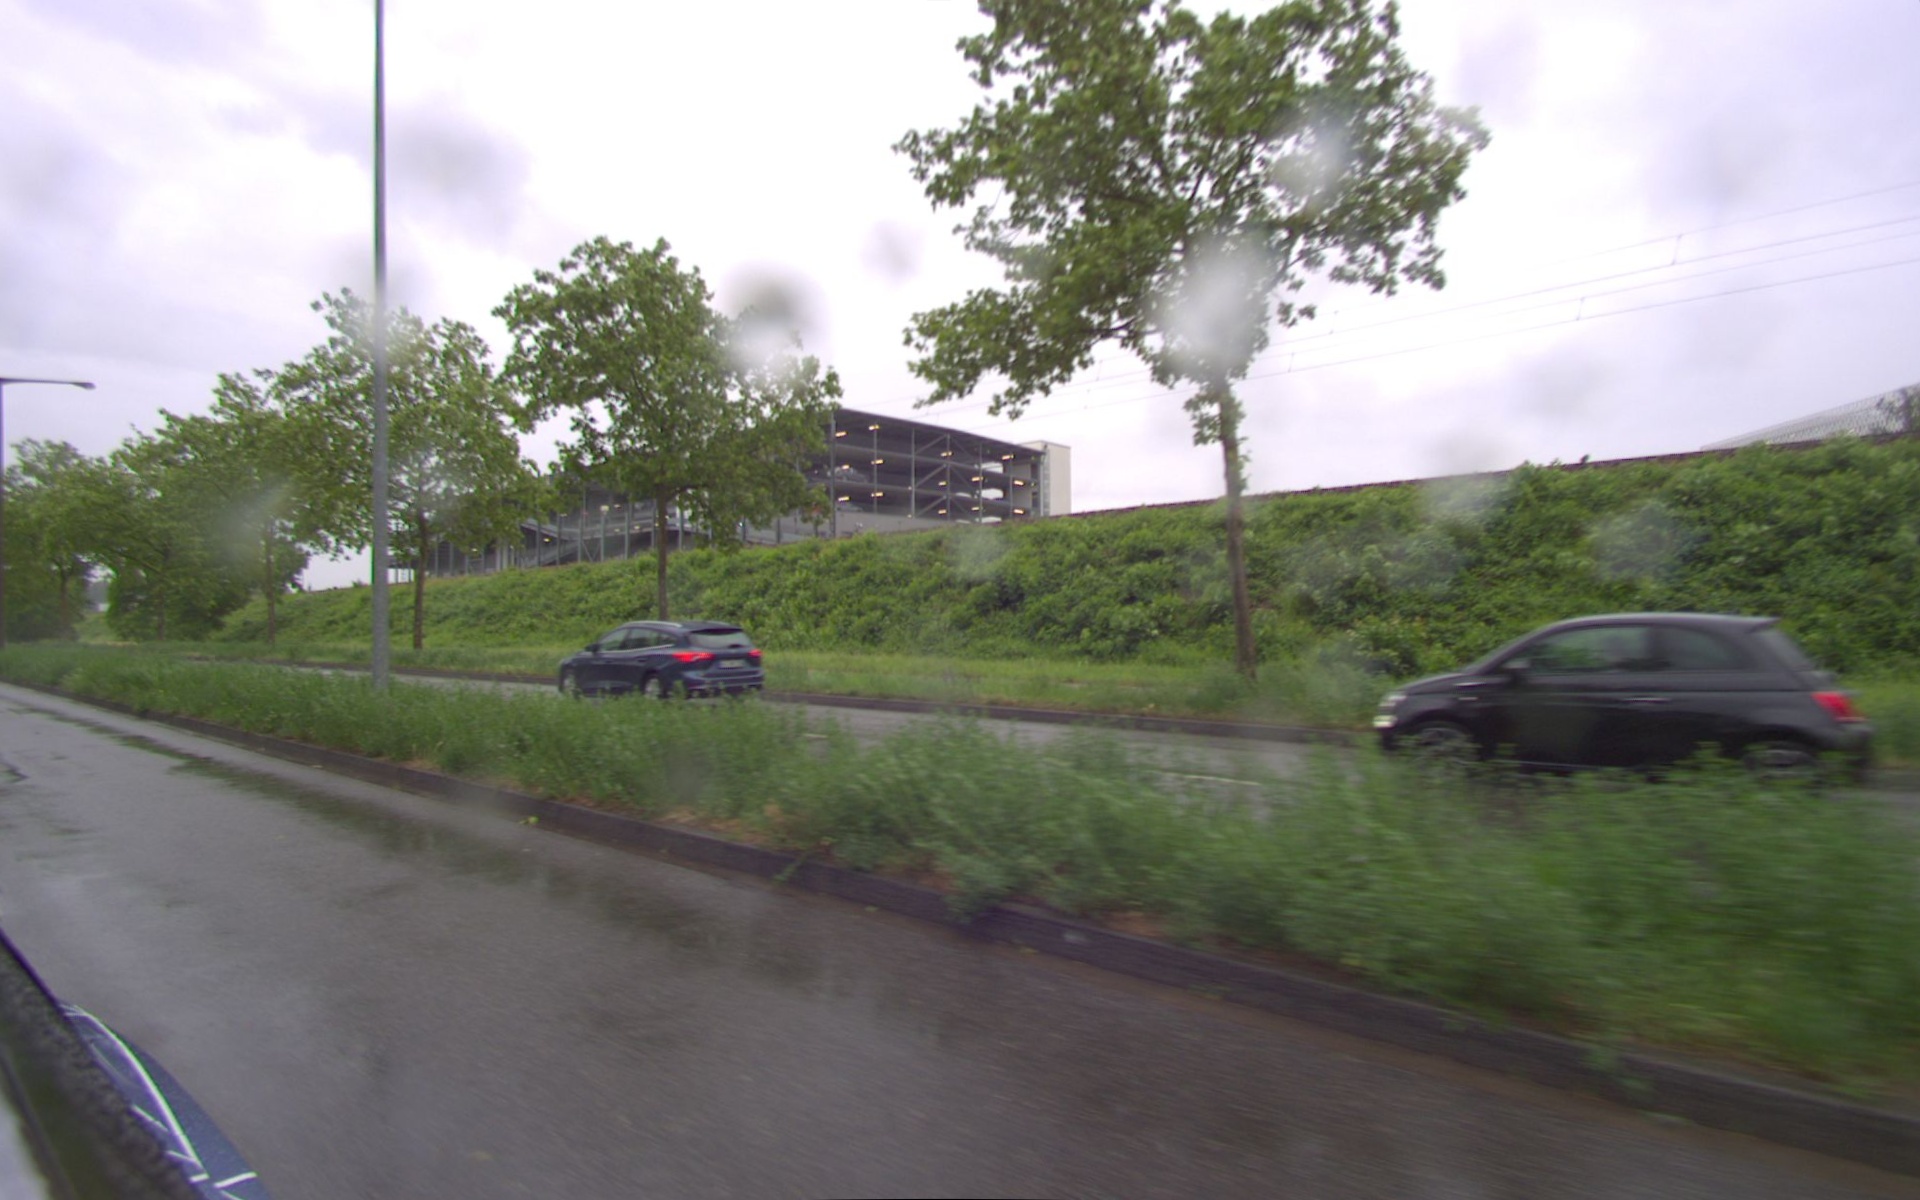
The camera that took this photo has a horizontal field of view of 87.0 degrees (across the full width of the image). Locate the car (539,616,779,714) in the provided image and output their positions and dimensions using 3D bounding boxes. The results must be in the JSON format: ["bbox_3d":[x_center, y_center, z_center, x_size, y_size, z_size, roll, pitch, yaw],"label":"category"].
[{"bbox_3d":[-5.330,1.048,17.626,4.494,1.456,1.911,-2,-1,41],"label":"car"}]

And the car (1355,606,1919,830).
[{"bbox_3d":[5.557,0.814,8.548,3.705,1.456,1.911,-2,-1,41],"label":"car"}]
